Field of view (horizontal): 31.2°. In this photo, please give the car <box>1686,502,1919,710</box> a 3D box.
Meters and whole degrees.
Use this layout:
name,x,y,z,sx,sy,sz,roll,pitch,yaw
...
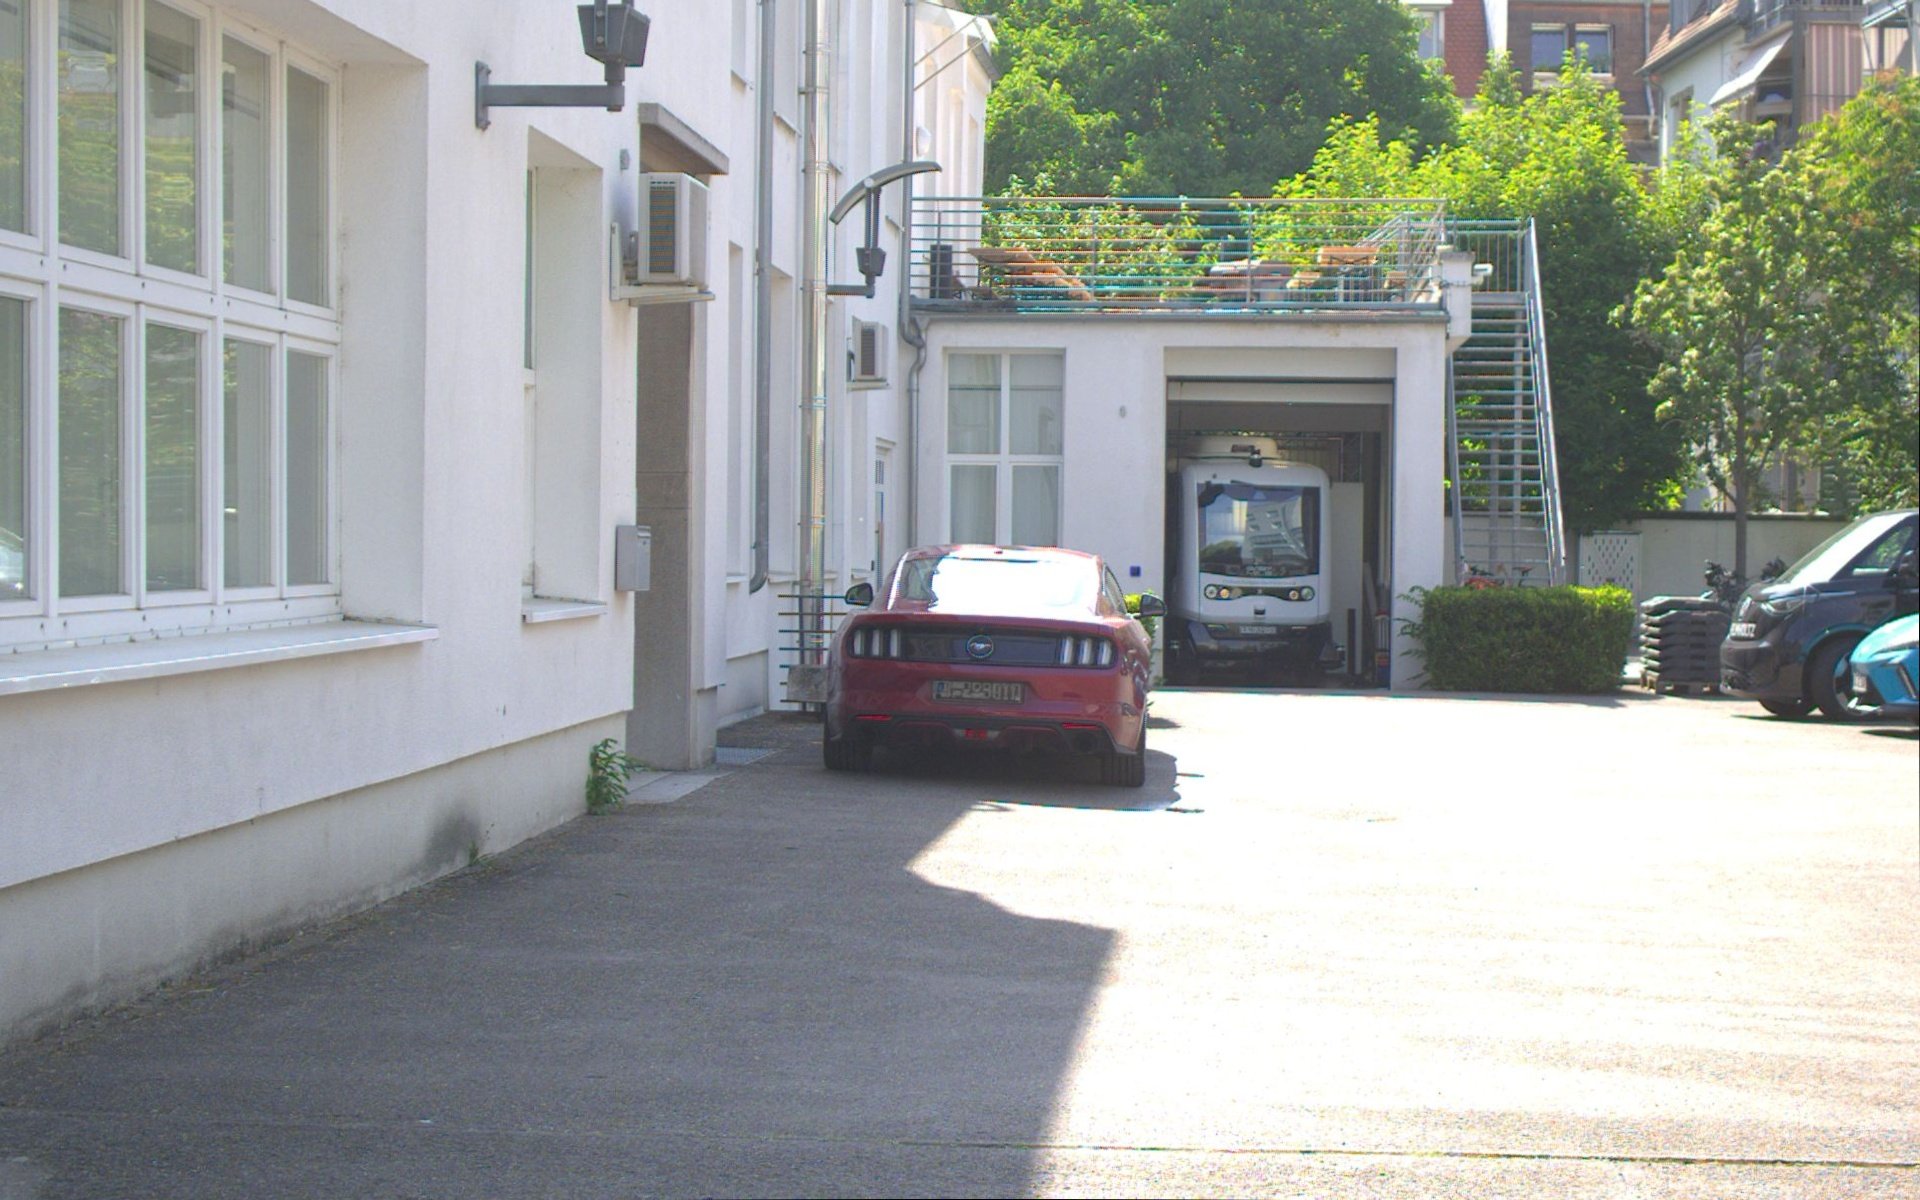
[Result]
name,x,y,z,sx,sy,sz,roll,pitch,yaw
car,9.259,0.005,30.838,4.950,1.761,2.097,-1,2,-7

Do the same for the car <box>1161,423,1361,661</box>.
name,x,y,z,sx,sy,sz,roll,pitch,yaw
car,3.595,-0.673,40.961,2.174,2.598,6.733,0,1,5

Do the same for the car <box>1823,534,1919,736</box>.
name,x,y,z,sx,sy,sz,roll,pitch,yaw
car,9.273,0.248,27.575,4.229,1.527,2.000,0,2,2

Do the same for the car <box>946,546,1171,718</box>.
name,x,y,z,sx,sy,sz,roll,pitch,yaw
car,0.863,0.211,28.158,1.614,1.291,3.758,0,1,5

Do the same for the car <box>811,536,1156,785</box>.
name,x,y,z,sx,sy,sz,roll,pitch,yaw
car,0.244,0.301,21.379,1.852,1.315,4.000,2,1,4
